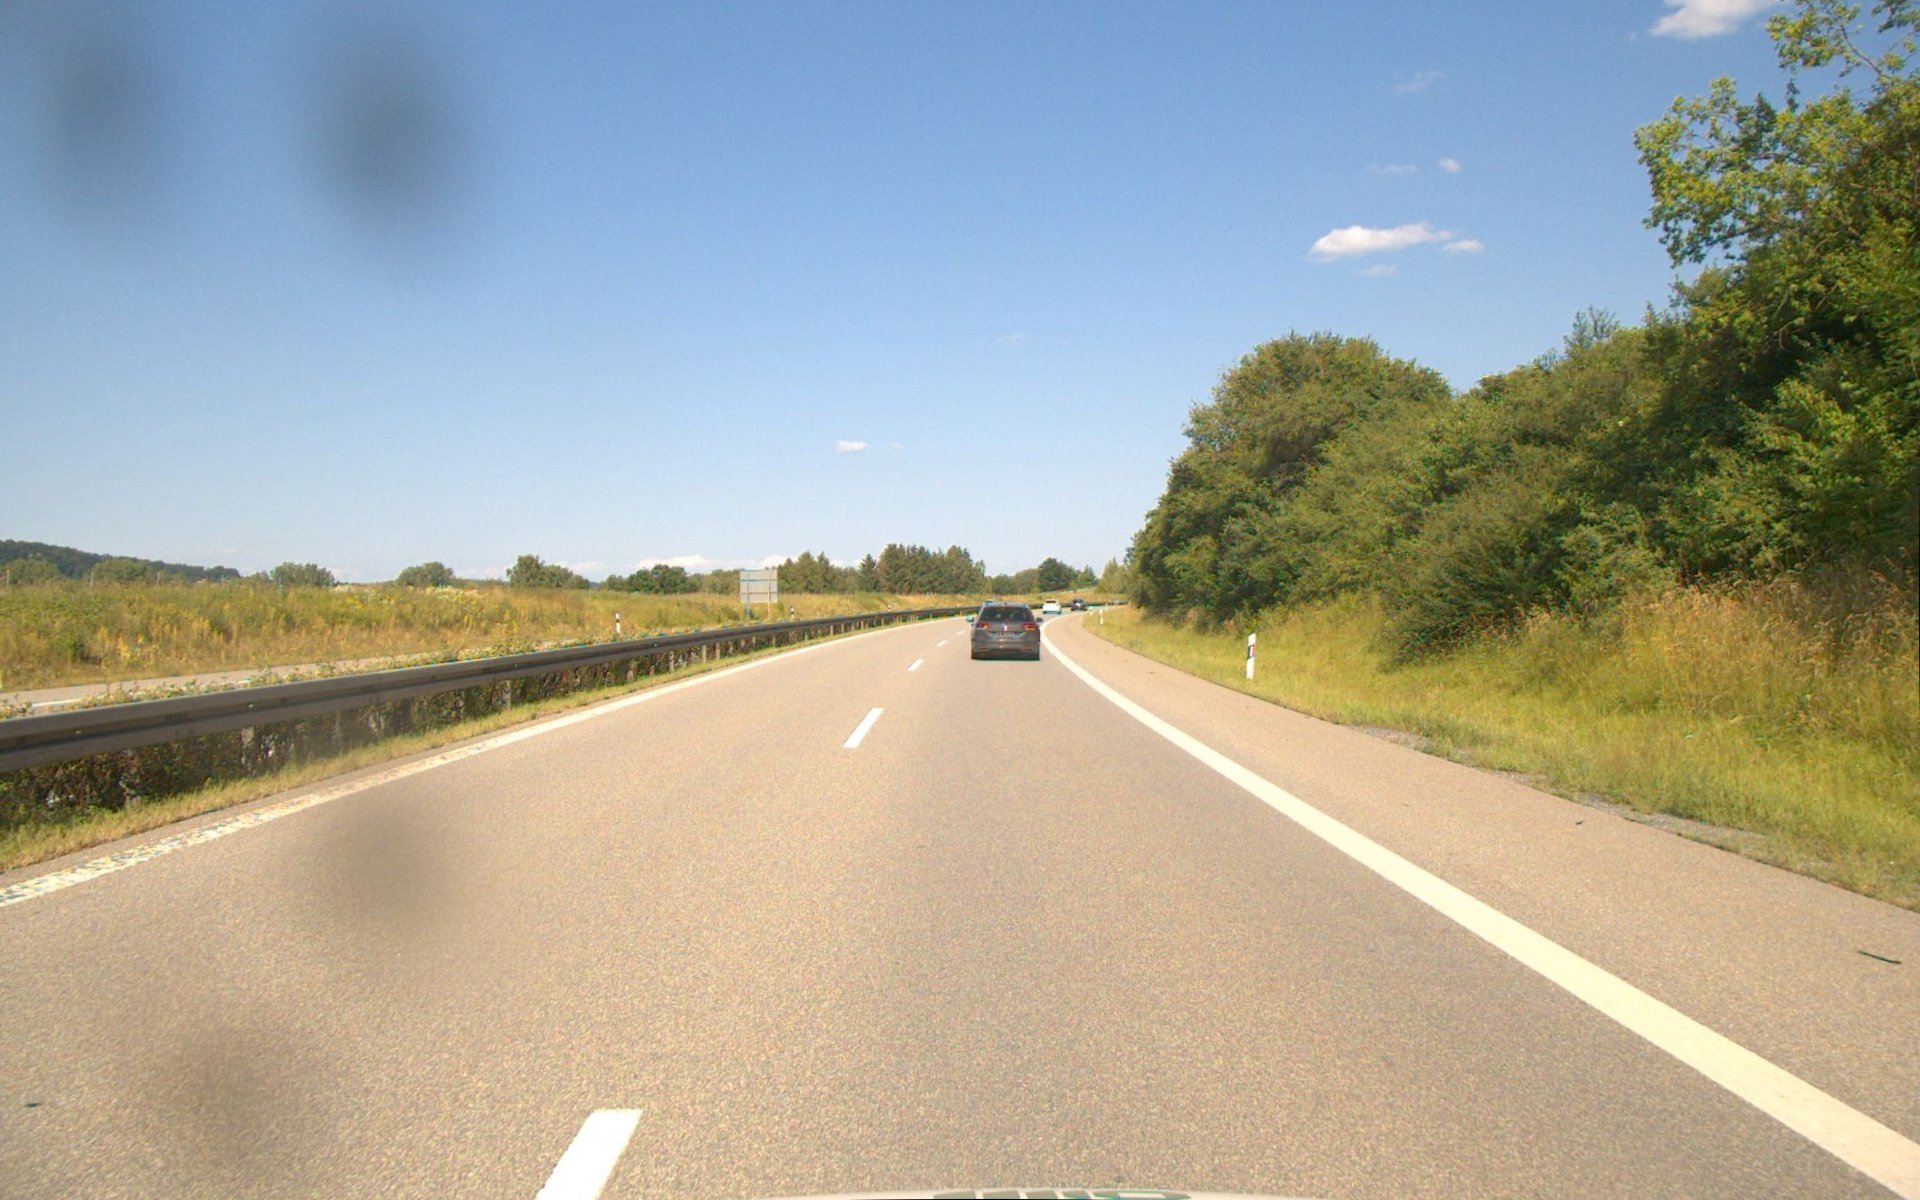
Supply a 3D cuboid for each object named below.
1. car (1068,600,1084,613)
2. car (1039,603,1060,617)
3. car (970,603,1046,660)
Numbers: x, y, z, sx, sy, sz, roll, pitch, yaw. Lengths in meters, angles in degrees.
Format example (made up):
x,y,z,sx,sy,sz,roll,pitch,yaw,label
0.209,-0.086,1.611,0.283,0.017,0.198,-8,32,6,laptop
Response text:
x,y,z,sx,sy,sz,roll,pitch,yaw,label
14.078,0.772,201.028,1.674,1.411,3.358,2,-1,9,car
9.050,1.007,167.350,1.965,1.368,4.001,2,-1,2,car
1.181,0.775,42.467,1.754,1.368,3.999,1,0,-1,car
